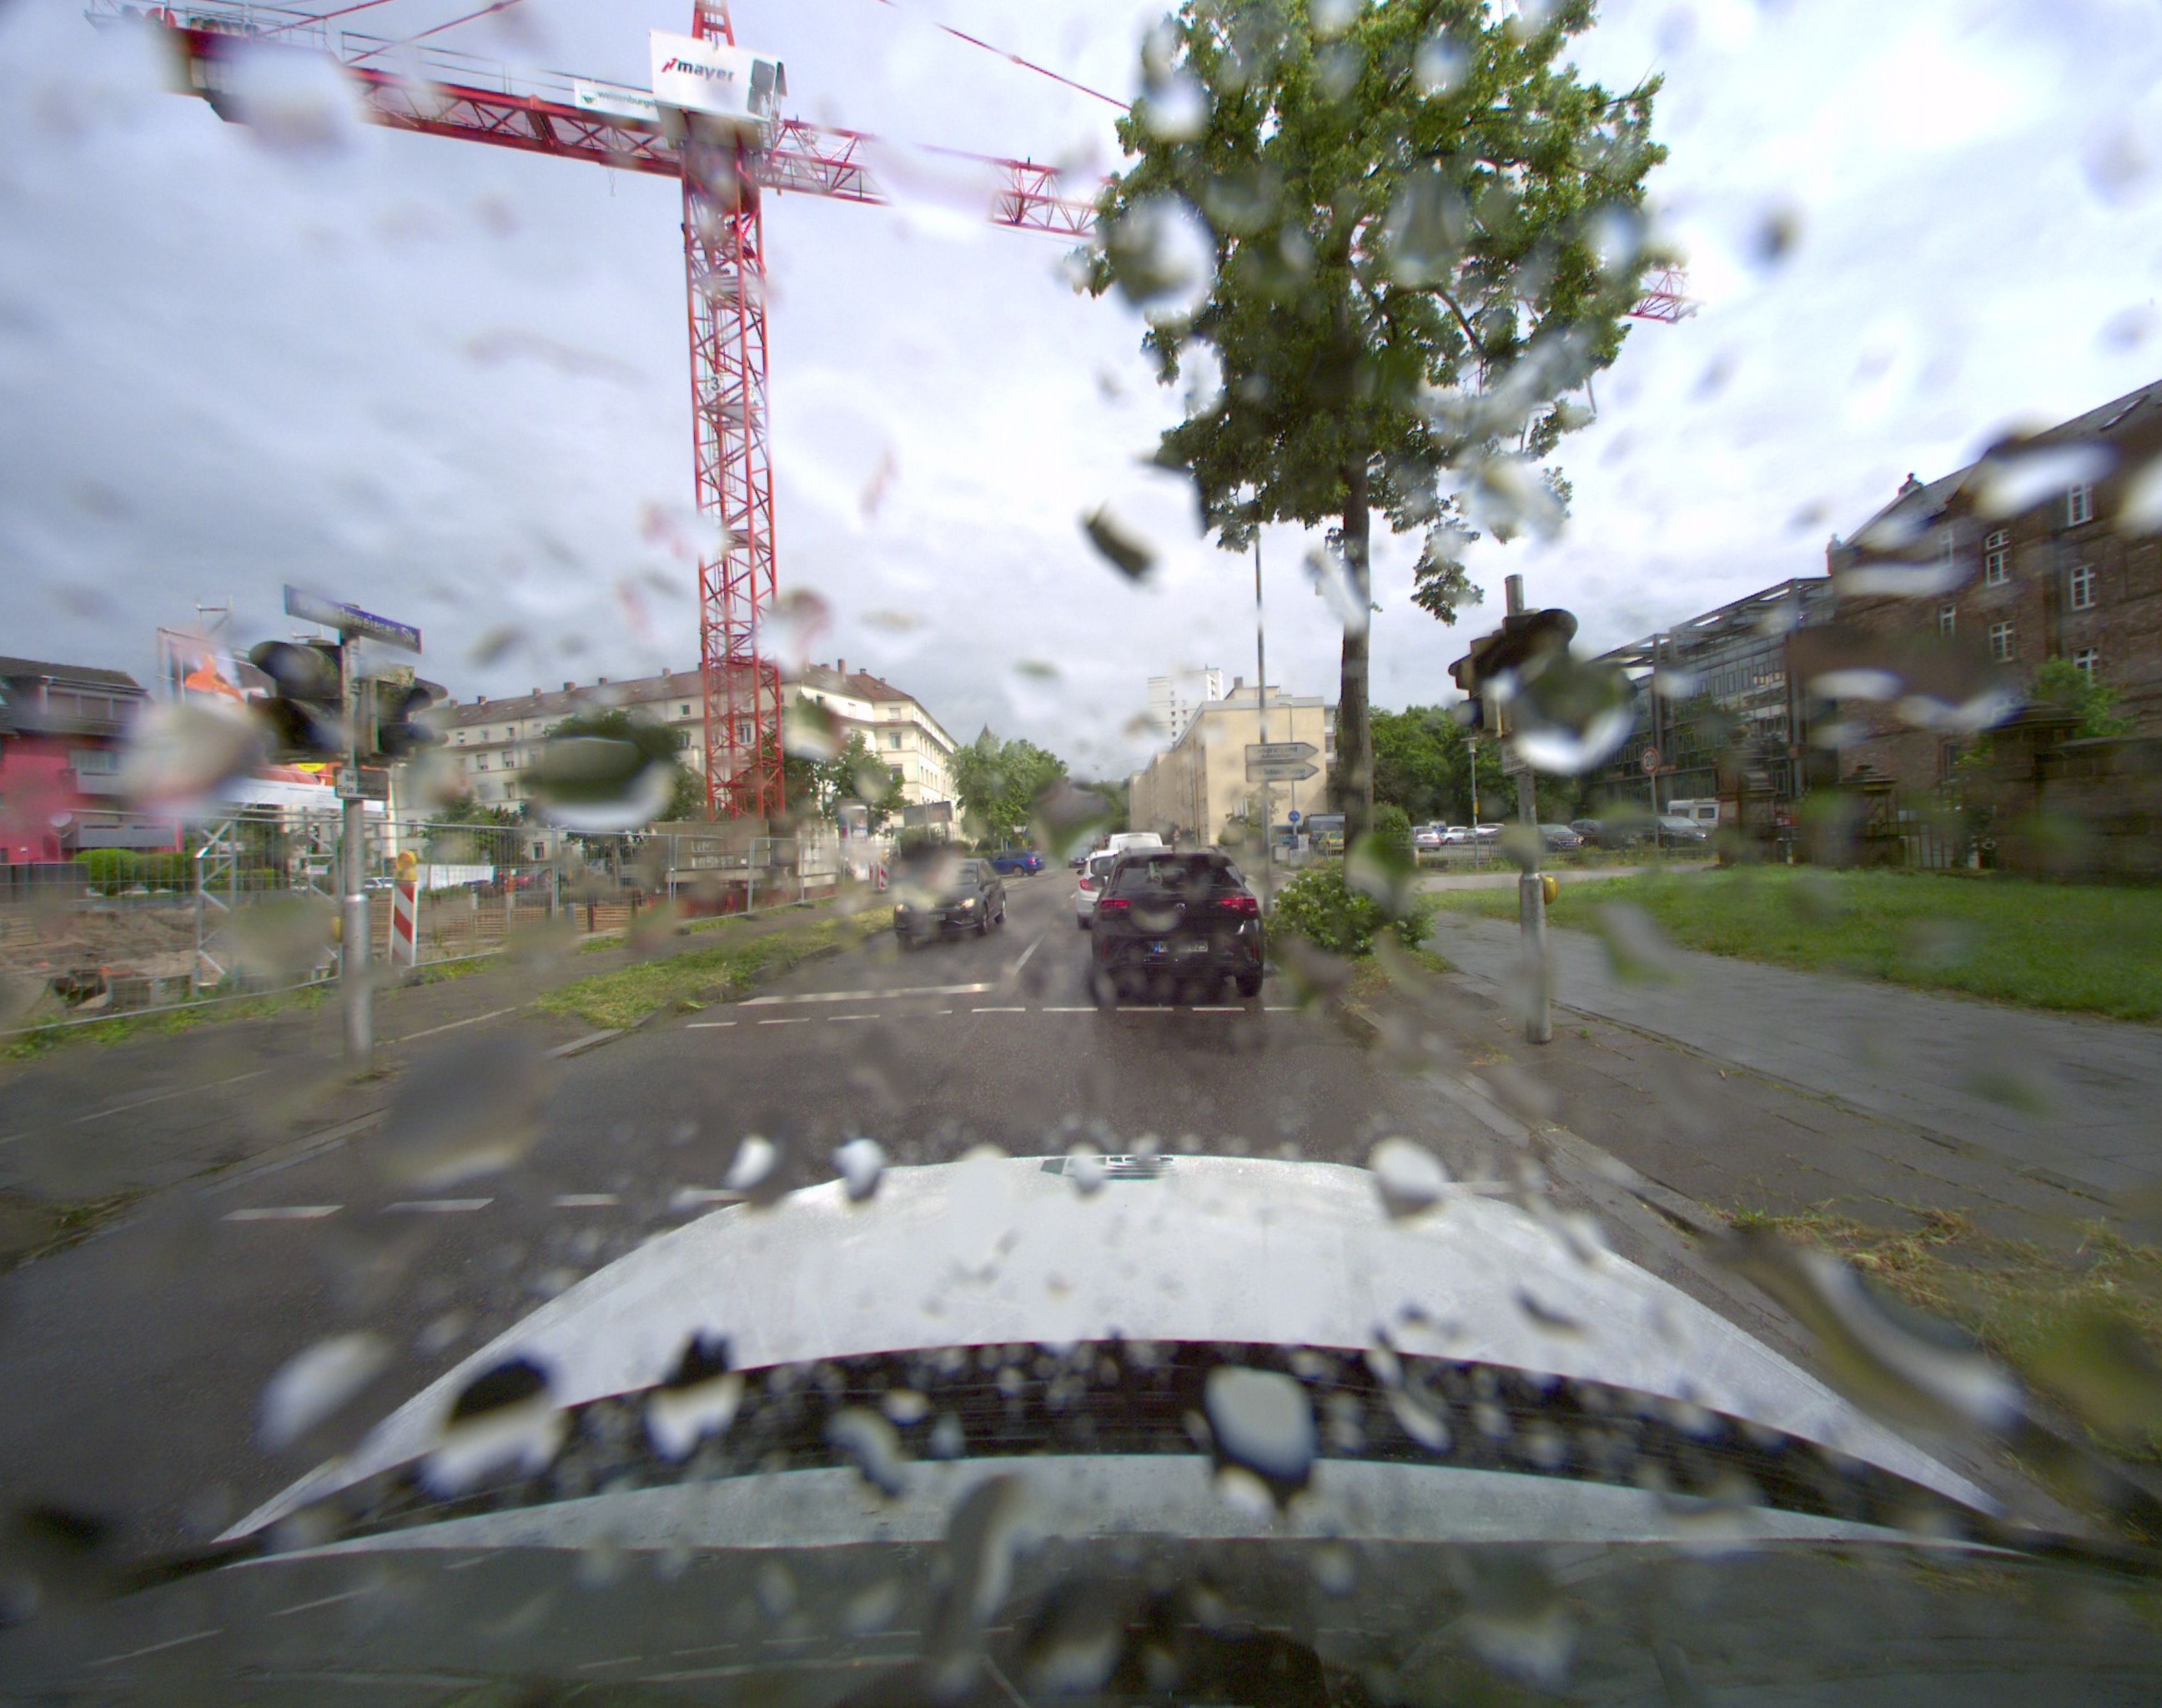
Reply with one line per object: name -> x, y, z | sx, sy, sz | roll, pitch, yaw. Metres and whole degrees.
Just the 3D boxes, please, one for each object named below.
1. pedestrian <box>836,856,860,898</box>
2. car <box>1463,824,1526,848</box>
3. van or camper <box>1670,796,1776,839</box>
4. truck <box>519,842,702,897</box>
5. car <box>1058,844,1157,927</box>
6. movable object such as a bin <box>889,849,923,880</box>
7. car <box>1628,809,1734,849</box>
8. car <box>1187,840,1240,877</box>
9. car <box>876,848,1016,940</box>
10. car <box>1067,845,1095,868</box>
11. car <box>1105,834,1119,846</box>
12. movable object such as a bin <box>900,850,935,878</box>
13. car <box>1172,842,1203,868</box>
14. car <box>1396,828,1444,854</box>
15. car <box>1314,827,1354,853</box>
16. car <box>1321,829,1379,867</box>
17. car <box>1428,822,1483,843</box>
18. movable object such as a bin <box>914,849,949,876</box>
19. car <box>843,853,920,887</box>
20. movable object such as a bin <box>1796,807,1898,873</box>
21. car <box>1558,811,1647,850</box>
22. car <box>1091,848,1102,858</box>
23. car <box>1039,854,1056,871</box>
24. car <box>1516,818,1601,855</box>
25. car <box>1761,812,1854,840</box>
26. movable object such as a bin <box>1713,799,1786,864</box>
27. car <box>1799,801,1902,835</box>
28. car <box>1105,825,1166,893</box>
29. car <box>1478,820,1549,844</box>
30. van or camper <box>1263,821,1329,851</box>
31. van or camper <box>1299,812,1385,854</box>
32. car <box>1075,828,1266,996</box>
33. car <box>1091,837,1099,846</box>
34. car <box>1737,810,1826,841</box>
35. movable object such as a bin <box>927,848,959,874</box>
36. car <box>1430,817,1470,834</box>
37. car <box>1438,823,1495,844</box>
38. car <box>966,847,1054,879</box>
pedestrian -> -9.357, 0.913, 32.712 | 0.727, 1.629, 0.677 | 0, -1, -36
car -> 29.751, -1.271, 58.660 | 3.649, 1.486, 1.642 | -3, 0, 5
van or camper -> 39.661, -2.228, 50.380 | 4.768, 2.486, 2.259 | -1, 0, 1
truck -> -28.870, 0.890, 50.089 | 9.742, 3.184, 3.807 | 0, 1, 14
car -> 0.562, 0.591, 16.921 | 1.806, 1.503, 4.002 | -1, 0, 2
movable object such as a bin -> -10.946, 0.655, 50.987 | 1.524, 1.824, 1.270 | -3, 1, 21
car -> 27.871, -1.124, 38.016 | 1.845, 1.679, 4.429 | -3, 0, 4
car -> 6.314, 0.197, 39.201 | 1.768, 1.539, 4.378 | -5, 1, 1
car -> -2.494, 0.696, 16.050 | 1.805, 1.540, 3.986 | -2, 0, 4
car -> 0.003, 0.172, 62.771 | 1.833, 1.607, 4.004 | -4, 0, 3
car -> 4.536, -1.970, 118.893 | 1.833, 1.607, 3.679 | -4, 0, 3
movable object such as a bin -> -10.533, 0.626, 52.518 | 1.524, 1.656, 1.536 | -3, 1, 21
car -> 6.602, 0.103, 50.769 | 1.748, 1.528, 4.006 | 1, -1, 6
car -> 20.789, -0.789, 50.047 | 1.641, 1.486, 3.724 | -3, 0, 5
car -> 15.703, -0.857, 50.673 | 1.603, 1.448, 3.421 | -3, 0, 4
car -> 13.656, -0.317, 41.572 | 1.795, 1.749, 4.243 | -3, 0, 4
car -> 30.473, -1.732, 66.337 | 3.649, 1.486, 1.642 | -3, 0, 5
movable object such as a bin -> -9.939, 0.565, 54.066 | 1.524, 1.674, 1.675 | -3, 1, 21
car -> -11.471, 0.924, 47.034 | 3.983, 1.637, 1.891 | -4, -1, -6
movable object such as a bin -> 18.258, -0.329, 19.458 | 1.101, 1.457, 1.392 | -4, 1, 3
car -> 24.870, -1.093, 39.042 | 1.843, 1.679, 4.433 | -3, 0, 8
car -> 2.733, -0.175, 144.336 | 1.733, 1.607, 3.679 | -4, 0, 3
car -> -3.286, 0.823, 79.669 | 1.582, 1.505, 4.061 | -4, 1, -2
car -> 22.604, -0.819, 38.758 | 1.819, 1.527, 4.432 | -3, 0, 7
car -> 40.388, -1.542, 45.319 | 3.650, 1.486, 1.674 | 0, 1, 3
movable object such as a bin -> 15.855, -0.533, 19.342 | 0.796, 1.457, 1.098 | -4, 1, 3
car -> 40.295, -1.894, 42.703 | 3.651, 1.524, 1.674 | -3, 0, 3
car -> 1.814, 0.164, 27.035 | 1.828, 2.103, 4.004 | -1, 0, 4
car -> 29.888, -1.502, 56.337 | 3.957, 1.465, 1.674 | -3, 0, 3
van or camper -> 16.982, -1.419, 64.528 | 4.736, 2.131, 2.325 | -2, 1, 5
van or camper -> 17.348, -1.383, 54.301 | 4.977, 2.554, 2.177 | -2, -1, 3
car -> 0.955, 0.577, 10.083 | 1.866, 1.645, 4.064 | -1, 0, 2
car -> 3.051, -2.728, 181.821 | 1.660, 1.837, 4.000 | -3, 1, 0
car -> 40.675, -1.649, 47.338 | 3.651, 1.576, 1.674 | -3, 0, 3
movable object such as a bin -> -9.377, 0.483, 55.568 | 1.524, 1.661, 1.466 | -3, 1, 21
car -> 36.136, -2.803, 79.765 | 3.209, 1.397, 1.511 | -3, 0, 5
car -> 30.277, -1.601, 64.045 | 3.649, 1.486, 1.642 | -3, 0, 5
car -> -3.922, 0.504, 45.023 | 4.395, 1.585, 1.831 | -2, -1, 21
